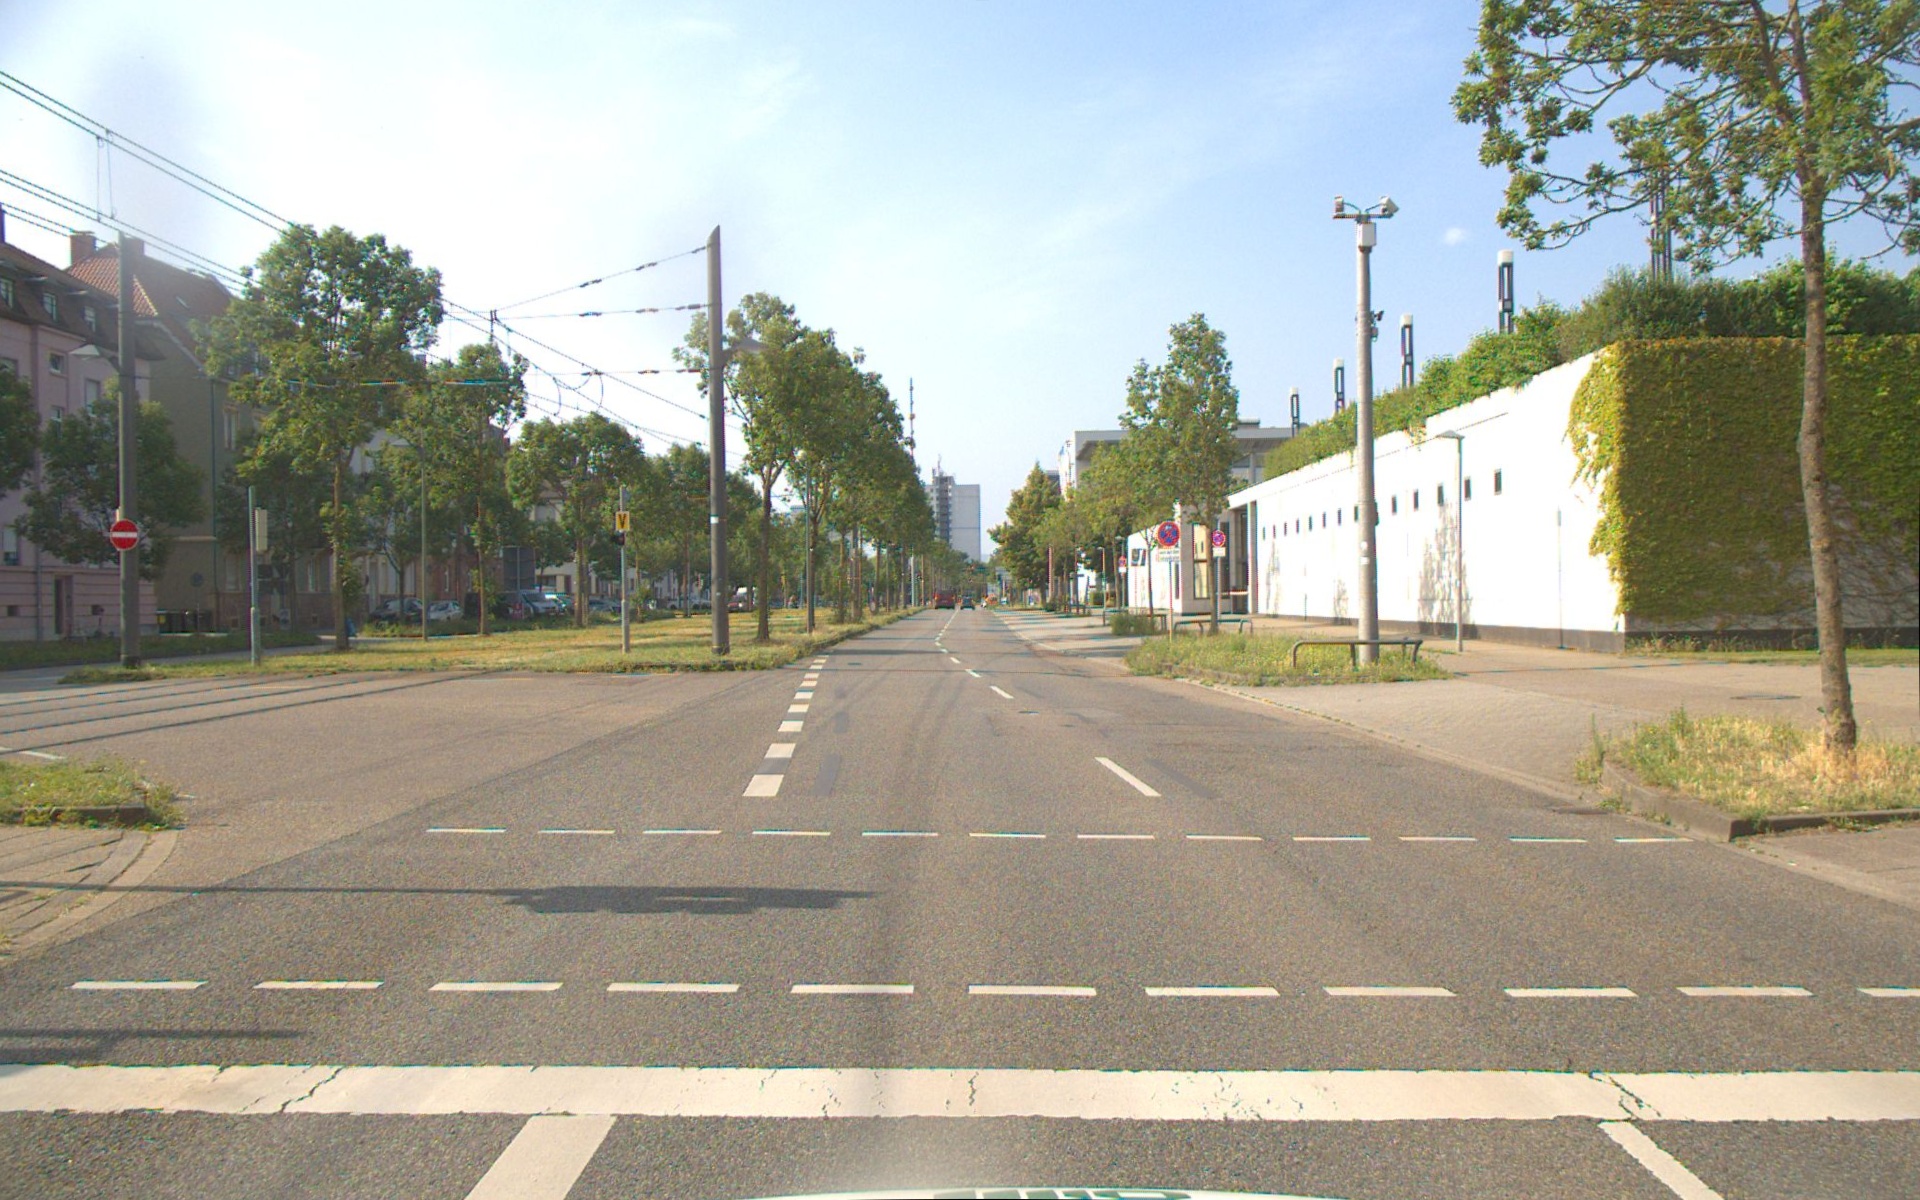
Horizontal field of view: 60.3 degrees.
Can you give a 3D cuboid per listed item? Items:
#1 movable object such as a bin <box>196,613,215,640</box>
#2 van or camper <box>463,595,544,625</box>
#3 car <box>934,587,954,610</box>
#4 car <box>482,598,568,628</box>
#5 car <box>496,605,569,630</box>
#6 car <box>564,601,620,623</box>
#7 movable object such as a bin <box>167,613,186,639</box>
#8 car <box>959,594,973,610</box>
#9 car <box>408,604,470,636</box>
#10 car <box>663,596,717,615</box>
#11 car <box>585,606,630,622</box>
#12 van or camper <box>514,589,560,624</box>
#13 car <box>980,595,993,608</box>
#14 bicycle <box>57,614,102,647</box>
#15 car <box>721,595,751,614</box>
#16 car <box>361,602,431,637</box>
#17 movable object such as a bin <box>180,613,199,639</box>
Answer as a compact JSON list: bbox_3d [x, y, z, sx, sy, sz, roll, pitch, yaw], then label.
[{"bbox_3d":[-36.128,1.268,79.186,0.573,1.232,0.640,1,-1,-1],"label":"movable object such as a bin"},{"bbox_3d":[-27.093,0.572,98.089,4.749,1.652,1.997,1,-1,33],"label":"van or camper"},{"bbox_3d":[-1.472,-0.130,153.485,1.712,2.049,3.216,1,-1,1],"label":"car"},{"bbox_3d":[-26.485,0.780,100.662,5.109,1.652,2.052,1,-1,31],"label":"car"},{"bbox_3d":[-26.769,1.066,103.483,4.382,1.444,1.970,1,-1,33],"label":"car"},{"bbox_3d":[-25.989,0.864,116.827,3.918,1.442,1.572,1,-1,35],"label":"car"},{"bbox_3d":[-37.463,1.235,79.091,0.573,1.232,0.640,1,-1,-1],"label":"movable object such as a bin"},{"bbox_3d":[0.774,0.323,216.609,1.712,2.049,3.216,1,-1,1],"label":"car"},{"bbox_3d":[-28.529,1.063,90.655,1.850,1.657,4.158,1,0,3],"label":"car"},{"bbox_3d":[-26.594,0.514,162.863,5.218,1.768,1.993,1,-1,34],"label":"car"},{"bbox_3d":[-26.312,1.046,123.412,3.098,1.181,1.493,1,-1,33],"label":"car"},{"bbox_3d":[-33.180,0.548,129.921,1.997,2.612,6.356,1,-1,0],"label":"van or camper"},{"bbox_3d":[3.547,0.212,221.413,1.712,1.679,3.216,1,-1,1],"label":"car"},{"bbox_3d":[-31.650,1.077,59.460,0.591,1.147,1.947,1,-1,-1],"label":"bicycle"},{"bbox_3d":[-21.280,0.426,157.133,1.923,1.724,4.299,1,-1,4],"label":"car"},{"bbox_3d":[-28.724,0.965,84.401,1.953,1.657,4.774,1,0,-1],"label":"car"},{"bbox_3d":[-36.848,1.250,79.082,0.573,1.232,0.640,1,-1,-1],"label":"movable object such as a bin"}]
